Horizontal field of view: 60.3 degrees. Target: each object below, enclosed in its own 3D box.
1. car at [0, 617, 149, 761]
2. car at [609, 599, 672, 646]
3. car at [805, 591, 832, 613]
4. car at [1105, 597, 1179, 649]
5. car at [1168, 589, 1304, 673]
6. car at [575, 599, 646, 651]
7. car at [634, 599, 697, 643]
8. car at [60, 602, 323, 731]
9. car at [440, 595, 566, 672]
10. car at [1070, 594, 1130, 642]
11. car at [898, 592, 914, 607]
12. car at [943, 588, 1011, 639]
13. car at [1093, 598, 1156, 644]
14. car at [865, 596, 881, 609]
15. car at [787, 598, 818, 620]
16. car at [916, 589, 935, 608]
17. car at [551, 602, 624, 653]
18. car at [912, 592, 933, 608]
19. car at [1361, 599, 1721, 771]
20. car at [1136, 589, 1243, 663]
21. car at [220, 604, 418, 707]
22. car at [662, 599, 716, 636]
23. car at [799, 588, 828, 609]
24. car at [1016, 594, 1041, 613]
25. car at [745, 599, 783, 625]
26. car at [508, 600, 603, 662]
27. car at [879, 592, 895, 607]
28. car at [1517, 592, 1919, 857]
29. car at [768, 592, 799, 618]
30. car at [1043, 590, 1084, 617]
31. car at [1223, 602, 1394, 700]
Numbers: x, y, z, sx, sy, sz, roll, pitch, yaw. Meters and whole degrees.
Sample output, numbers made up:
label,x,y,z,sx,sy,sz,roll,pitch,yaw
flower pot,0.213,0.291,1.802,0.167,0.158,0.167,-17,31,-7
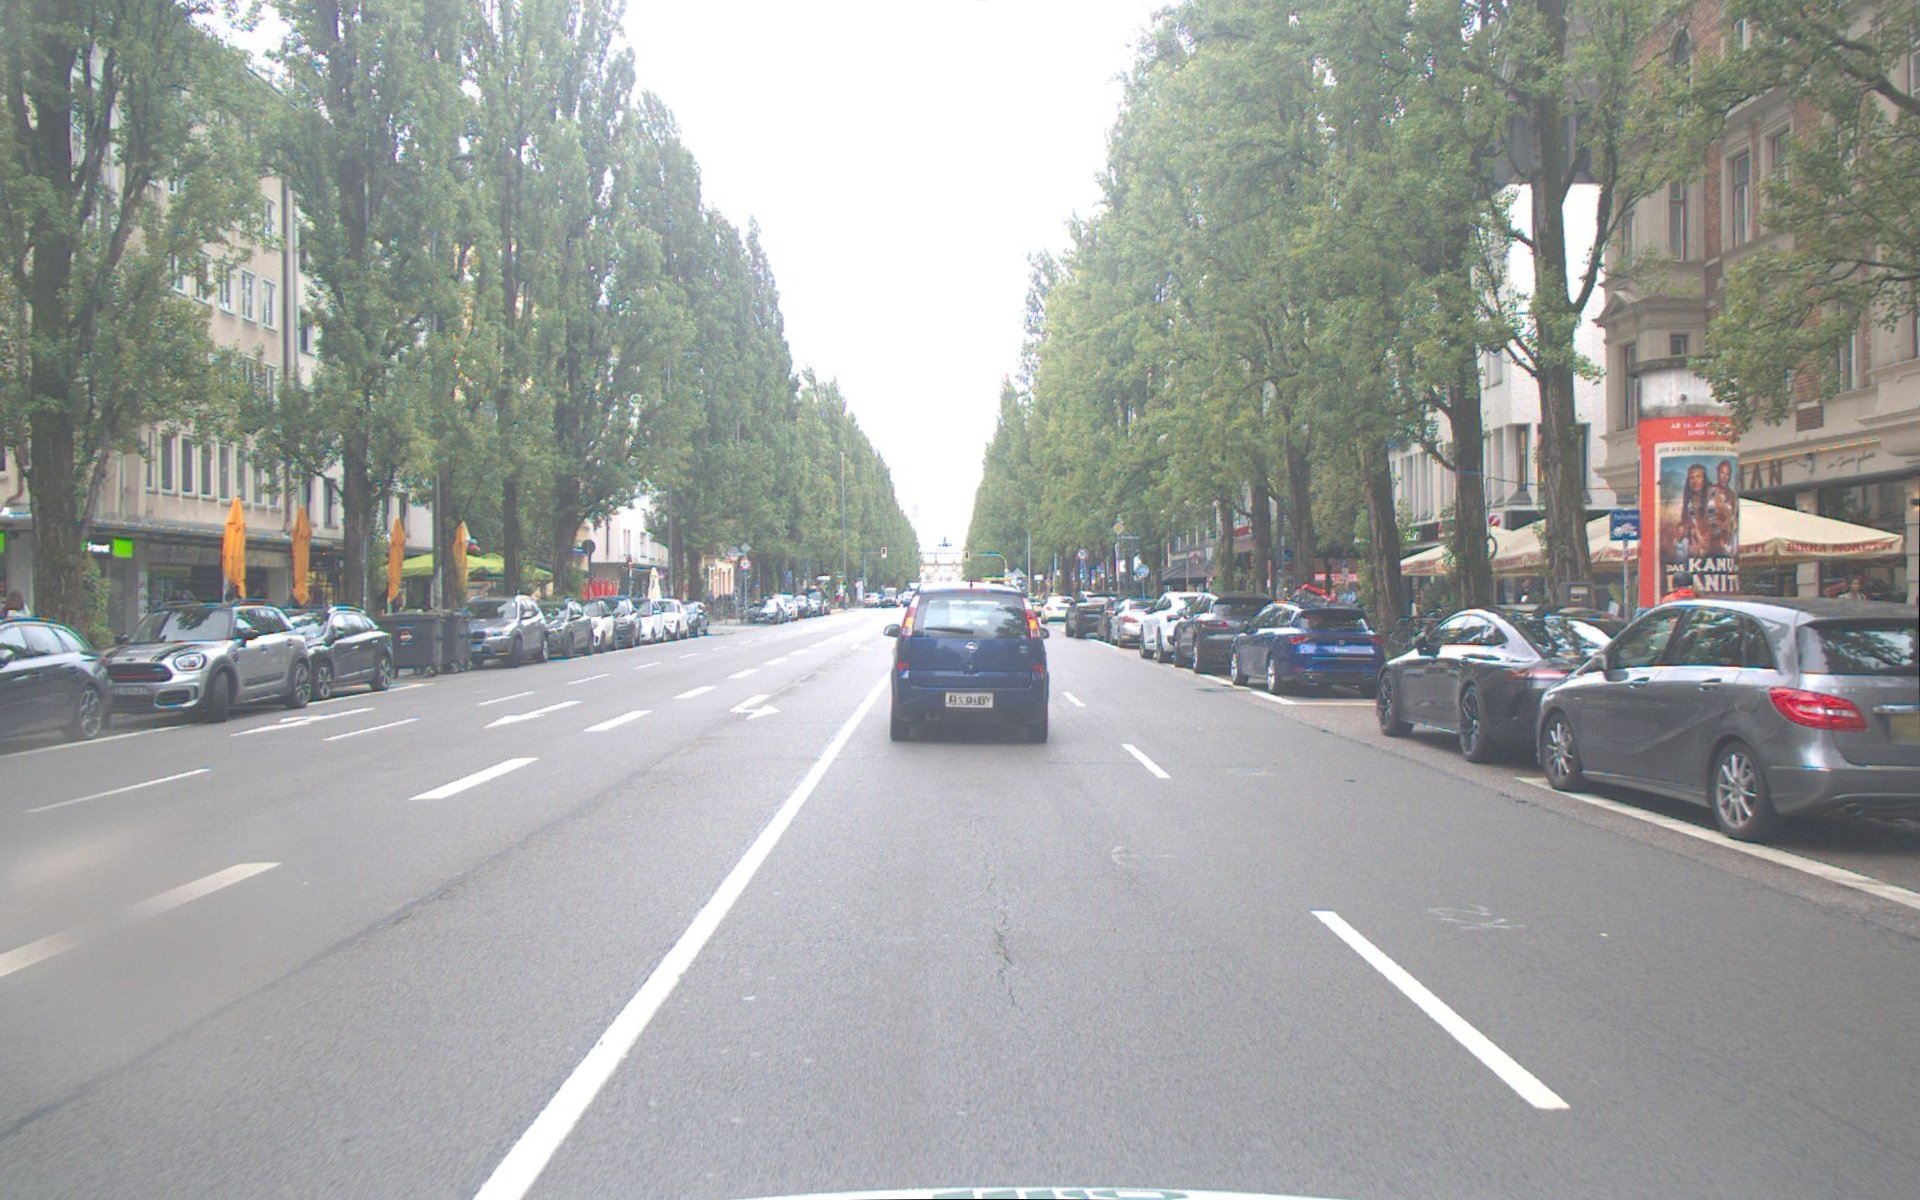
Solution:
label,x,y,z,sx,sy,sz,roll,pitch,yaw
car,-10.769,0.970,18.127,1.651,1.449,4.684,-3,0,-4
car,-11.178,0.773,58.001,1.540,1.561,2.923,-1,0,2
car,-11.456,0.174,134.187,1.953,1.691,3.999,-1,0,-1
car,5.390,0.654,49.434,1.636,1.431,4.126,1,0,-1
car,5.578,0.586,33.996,1.953,1.592,4.482,-1,0,-1
car,-11.261,0.771,53.555,1.805,1.592,4.174,-1,0,-6
car,-11.010,0.770,62.061,1.798,1.573,4.084,-1,0,-3
car,-10.505,0.841,22.950,1.745,1.603,4.132,0,0,-1
car,-11.014,0.767,40.193,1.827,1.683,4.614,-3,0,-2
car,4.997,0.625,59.441,1.761,1.621,4.104,1,0,0
car,-6.639,-0.059,203.958,1.798,1.706,3.778,-1,0,-1
car,0.494,0.392,51.549,1.953,1.523,3.999,-1,0,-1
car,5.427,0.682,54.856,1.648,1.439,3.582,1,0,-1
car,-11.318,0.326,214.395,1.922,1.576,3.778,-1,0,-1
car,-11.201,0.639,117.990,1.922,1.557,3.998,-1,0,-2
car,-3.401,-0.135,161.668,1.798,1.792,3.778,-1,0,-1
car,-11.160,0.809,49.695,1.598,1.453,2.982,-1,0,-2
car,-3.489,-0.020,154.526,1.922,1.424,3.778,-1,0,-1
car,5.632,0.736,16.766,1.840,1.457,4.803,-1,0,-2
car,5.378,0.575,39.348,1.790,1.649,4.746,1,0,-1
car,-10.874,0.893,28.387,1.629,1.530,4.313,-3,0,0
car,-10.971,0.690,67.153,1.553,1.472,3.391,0,0,2
car,-11.271,-0.101,127.568,1.922,1.576,3.778,-1,0,-1
car,5.042,0.246,121.283,1.635,1.376,4.104,-1,0,0
car,-11.168,0.686,94.474,1.793,1.445,3.810,0,0,-1
car,-10.951,0.801,44.993,1.663,1.577,4.081,-1,0,-2
car,-9.183,-0.046,208.248,1.798,1.769,3.778,-1,0,-1
car,5.716,0.721,11.851,1.781,1.532,4.229,-1,0,-4
car,-11.243,0.321,105.494,1.620,1.589,3.457,0,0,-1
car,5.391,0.177,86.522,1.858,1.386,3.899,-1,0,0
car,5.602,0.765,27.124,1.714,1.430,4.462,-1,0,-2
